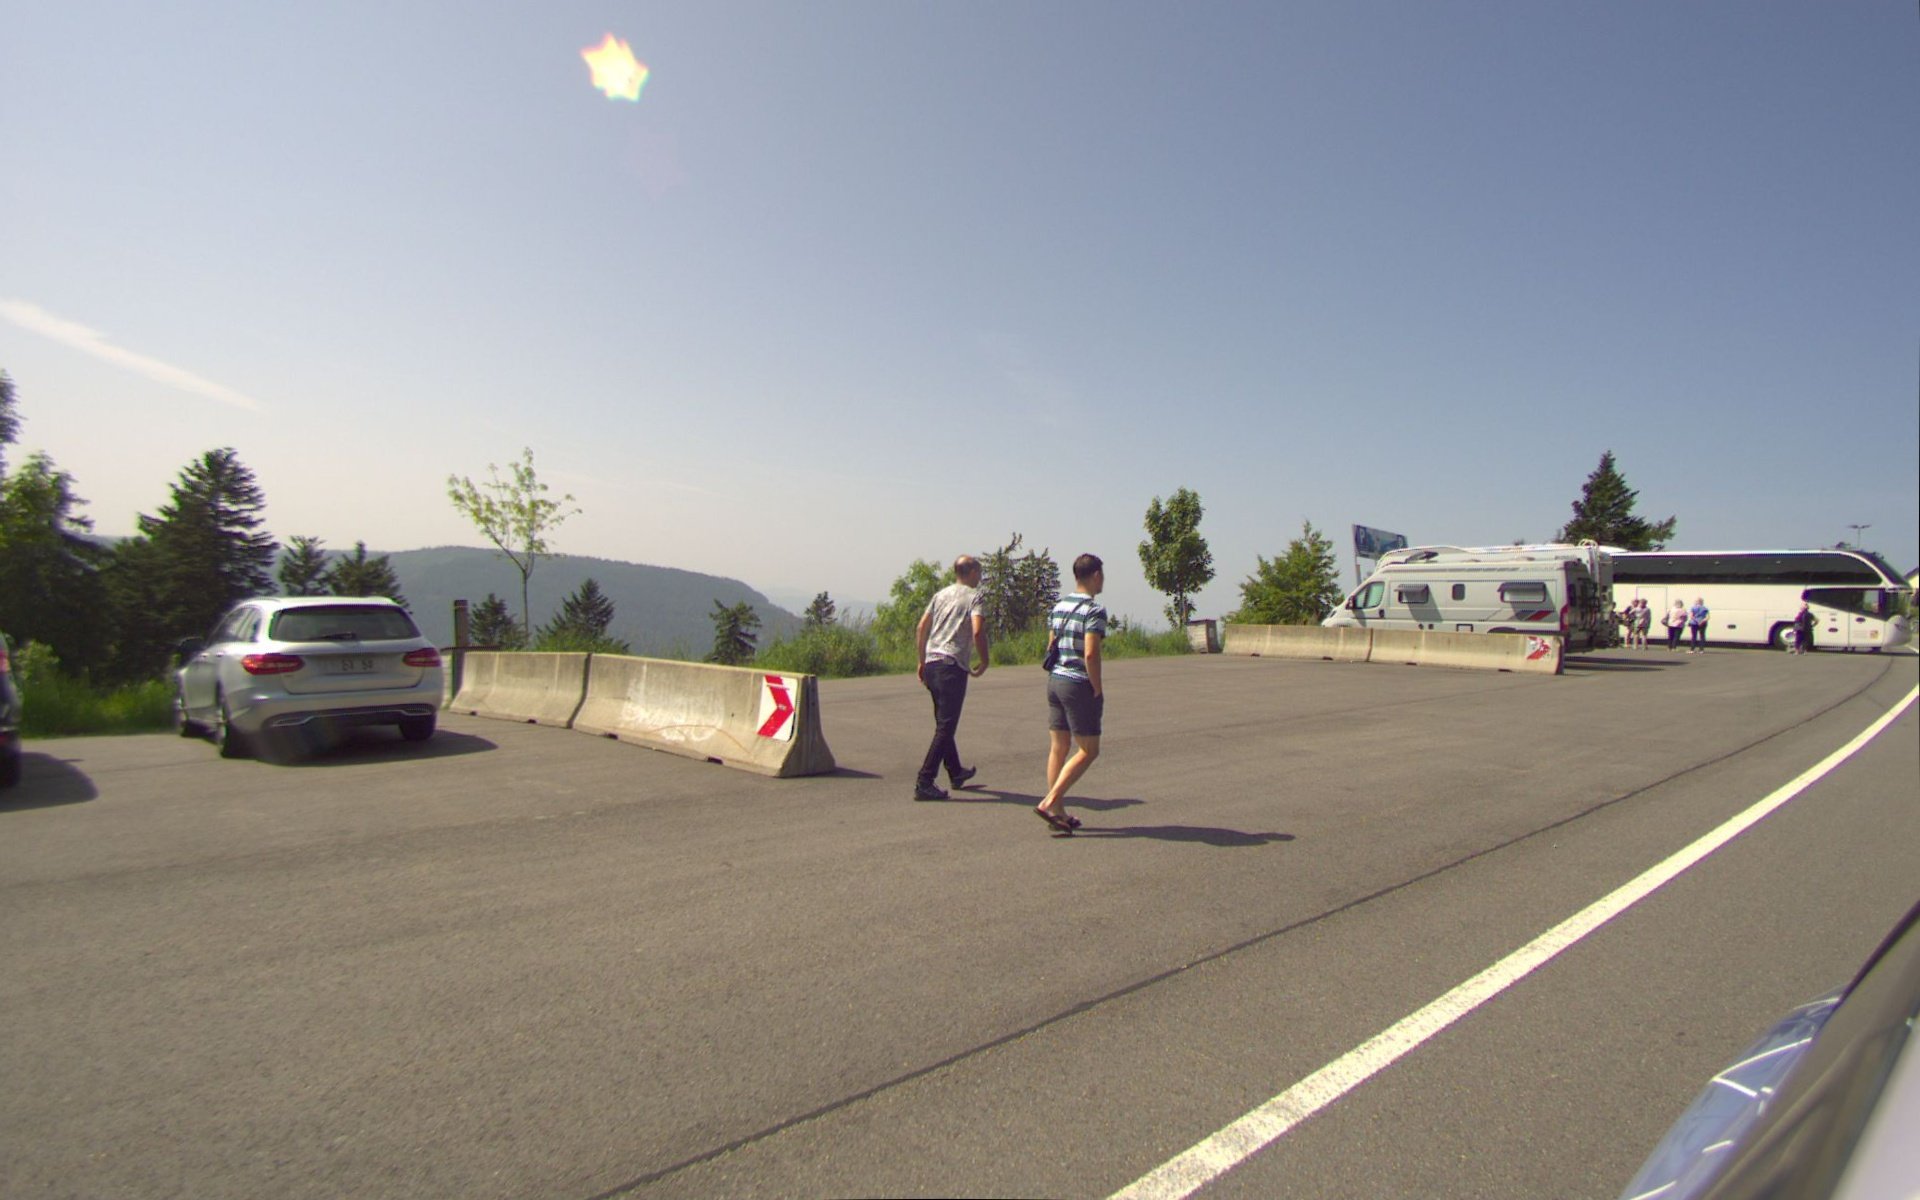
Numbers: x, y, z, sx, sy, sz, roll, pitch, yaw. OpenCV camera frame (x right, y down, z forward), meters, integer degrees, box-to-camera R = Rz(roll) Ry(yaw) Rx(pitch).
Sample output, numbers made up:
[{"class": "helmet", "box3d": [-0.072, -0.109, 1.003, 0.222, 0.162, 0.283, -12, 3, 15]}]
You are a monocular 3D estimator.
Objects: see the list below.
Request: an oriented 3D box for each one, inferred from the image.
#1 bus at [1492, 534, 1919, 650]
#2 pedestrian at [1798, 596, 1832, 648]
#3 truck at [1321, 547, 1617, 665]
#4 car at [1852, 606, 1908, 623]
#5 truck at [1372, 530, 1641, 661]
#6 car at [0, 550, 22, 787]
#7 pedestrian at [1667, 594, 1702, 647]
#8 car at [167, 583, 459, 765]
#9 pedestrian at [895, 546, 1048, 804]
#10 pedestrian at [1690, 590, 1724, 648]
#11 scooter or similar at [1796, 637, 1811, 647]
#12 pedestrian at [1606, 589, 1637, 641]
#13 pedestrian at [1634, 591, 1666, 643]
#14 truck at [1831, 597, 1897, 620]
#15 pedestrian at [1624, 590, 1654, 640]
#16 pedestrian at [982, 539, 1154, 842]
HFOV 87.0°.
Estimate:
[{"class": "bus", "box3d": [26.920, -0.410, 37.222, 2.790, 3.622, 12.868, 1, 1, -41]}, {"class": "pedestrian", "box3d": [26.945, 0.691, 31.894, 0.615, 1.586, 0.633, 1, 0, -29]}, {"class": "truck", "box3d": [12.633, 0.037, 25.589, 2.300, 2.623, 6.270, 0, 1, -42]}, {"class": "car", "box3d": [117.833, 1.830, 129.673, 5.236, 1.929, 1.969, 3, 1, 42]}, {"class": "truck", "box3d": [14.947, -0.189, 28.015, 2.491, 3.236, 6.068, 0, 1, -44]}, {"class": "car", "box3d": [-8.636, 0.521, 8.038, 3.987, 1.668, 1.575, -2, -1, 45]}, {"class": "pedestrian", "box3d": [23.298, 0.639, 32.543, 0.615, 1.671, 0.633, 1, 0, -19]}, {"class": "car", "box3d": [-6.747, 0.645, 10.373, 1.744, 1.495, 3.988, 1, -1, -44]}, {"class": "pedestrian", "box3d": [0.080, 0.514, 7.428, 0.876, 1.763, 0.668, 1, 0, -29]}, {"class": "pedestrian", "box3d": [23.438, 0.600, 31.760, 0.615, 1.780, 0.633, 1, 0, -29]}, {"class": "scooter or similar", "box3d": [27.136, 1.344, 32.548, 0.320, 0.315, 0.285, 1, 1, -34]}, {"class": "pedestrian", "box3d": [22.437, 0.506, 34.320, 0.615, 1.718, 0.633, 1, 0, -29]}, {"class": "pedestrian", "box3d": [22.841, 0.559, 33.488, 0.615, 1.719, 0.633, 1, 0, -29]}, {"class": "truck", "box3d": [122.075, 1.201, 136.685, 8.576, 2.865, 2.876, 1, 1, -20]}, {"class": "pedestrian", "box3d": [23.324, 0.520, 34.764, 0.615, 1.700, 0.633, 1, 0, -29]}, {"class": "pedestrian", "box3d": [0.675, 0.528, 6.460, 0.759, 1.782, 0.757, 1, 0, -29]}]
